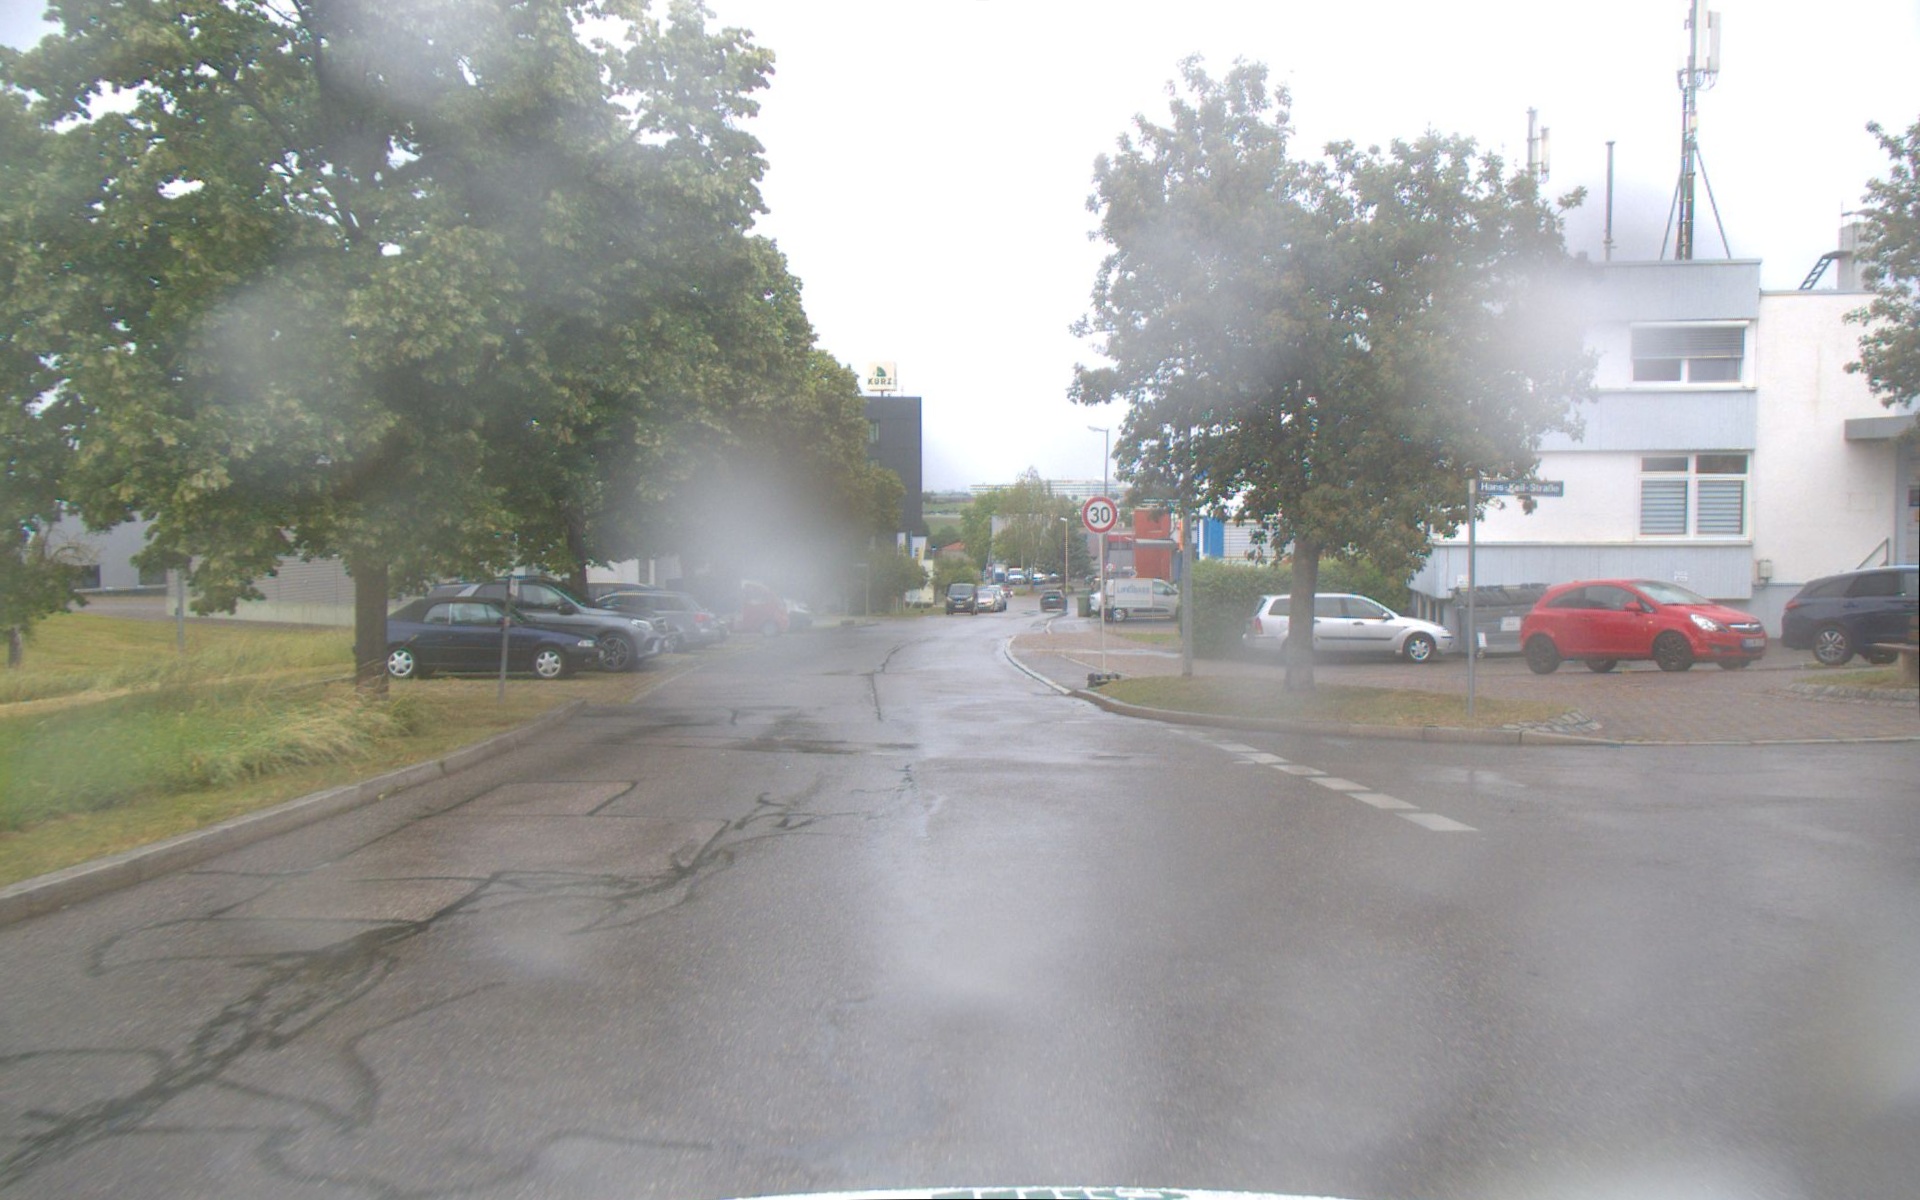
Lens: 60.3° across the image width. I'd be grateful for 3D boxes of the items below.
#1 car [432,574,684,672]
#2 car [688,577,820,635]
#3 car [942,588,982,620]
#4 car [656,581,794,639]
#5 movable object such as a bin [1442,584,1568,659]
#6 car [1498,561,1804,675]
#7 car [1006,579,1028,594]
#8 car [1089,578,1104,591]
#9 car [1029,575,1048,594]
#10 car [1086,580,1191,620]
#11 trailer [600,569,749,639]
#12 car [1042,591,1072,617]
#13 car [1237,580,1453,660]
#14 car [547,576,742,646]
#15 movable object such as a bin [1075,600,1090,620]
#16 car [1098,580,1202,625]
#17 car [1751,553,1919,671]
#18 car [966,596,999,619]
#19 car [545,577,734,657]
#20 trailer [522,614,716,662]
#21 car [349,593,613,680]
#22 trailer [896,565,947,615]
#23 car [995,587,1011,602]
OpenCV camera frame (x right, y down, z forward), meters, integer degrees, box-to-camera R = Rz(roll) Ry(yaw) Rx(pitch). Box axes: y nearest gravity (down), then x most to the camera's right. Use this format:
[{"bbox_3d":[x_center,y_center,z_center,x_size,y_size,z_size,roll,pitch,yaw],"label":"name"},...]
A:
[{"bbox_3d":[-7.562,0.434,31.421,4.279,1.752,2.044,-1,-1,-1],"label":"car"},{"bbox_3d":[-7.153,0.229,57.662,4.208,1.939,1.863,-1,-1,8],"label":"car"},{"bbox_3d":[0.128,0.242,99.849,1.875,1.863,4.851,0,0,6],"label":"car"},{"bbox_3d":[-7.433,0.312,52.628,4.110,1.752,1.755,-1,-1,-1],"label":"car"},{"bbox_3d":[11.839,0.453,36.014,2.219,1.529,1.734,-2,0,5],"label":"movable object such as a bin"},{"bbox_3d":[10.967,0.335,26.578,1.833,1.612,4.282,0,-3,-30],"label":"car"},{"bbox_3d":[7.743,-1.824,226.396,2.224,2.049,3.990,-1,-1,-10],"label":"car"},{"bbox_3d":[15.791,-1.777,190.986,1.661,1.501,4.002,-1,-1,5],"label":"car"},{"bbox_3d":[10.713,-2.075,226.581,2.149,2.502,3.997,-1,-1,-3],"label":"car"},{"bbox_3d":[7.898,-0.017,73.397,4.500,1.565,2.080,-2,0,5],"label":"car"},{"bbox_3d":[-8.559,0.137,49.815,4.124,2.019,1.774,-1,-1,2],"label":"trailer"},{"bbox_3d":[6.643,0.277,114.123,1.915,1.705,4.473,-1,-1,2],"label":"car"},{"bbox_3d":[8.178,0.423,35.414,4.223,1.612,1.859,-1,-1,2],"label":"car"},{"bbox_3d":[-7.955,0.281,42.013,4.521,1.617,1.807,1,0,3],"label":"car"},{"bbox_3d":[6.489,0.550,87.421,0.755,1.048,0.809,0,0,7],"label":"movable object such as a bin"},{"bbox_3d":[8.034,0.104,70.285,4.249,1.804,2.090,-1,0,3],"label":"car"},{"bbox_3d":[15.034,0.114,25.496,1.837,1.612,4.772,0,-5,-34],"label":"car"},{"bbox_3d":[1.591,0.511,114.428,1.914,1.486,5.251,-1,0,5],"label":"car"},{"bbox_3d":[-7.599,0.406,39.462,3.988,1.752,2.026,1,0,4],"label":"car"},{"bbox_3d":[-7.521,0.838,36.784,3.860,0.978,2.000,0,1,0],"label":"trailer"},{"bbox_3d":[-8.229,0.631,28.721,4.130,1.456,1.772,0,-1,-6],"label":"car"},{"bbox_3d":[-3.344,-0.851,143.220,4.115,4.276,1.993,-1,0,44],"label":"trailer"},{"bbox_3d":[4.863,-0.594,186.047,1.711,1.535,3.936,-3,-1,2],"label":"car"}]
